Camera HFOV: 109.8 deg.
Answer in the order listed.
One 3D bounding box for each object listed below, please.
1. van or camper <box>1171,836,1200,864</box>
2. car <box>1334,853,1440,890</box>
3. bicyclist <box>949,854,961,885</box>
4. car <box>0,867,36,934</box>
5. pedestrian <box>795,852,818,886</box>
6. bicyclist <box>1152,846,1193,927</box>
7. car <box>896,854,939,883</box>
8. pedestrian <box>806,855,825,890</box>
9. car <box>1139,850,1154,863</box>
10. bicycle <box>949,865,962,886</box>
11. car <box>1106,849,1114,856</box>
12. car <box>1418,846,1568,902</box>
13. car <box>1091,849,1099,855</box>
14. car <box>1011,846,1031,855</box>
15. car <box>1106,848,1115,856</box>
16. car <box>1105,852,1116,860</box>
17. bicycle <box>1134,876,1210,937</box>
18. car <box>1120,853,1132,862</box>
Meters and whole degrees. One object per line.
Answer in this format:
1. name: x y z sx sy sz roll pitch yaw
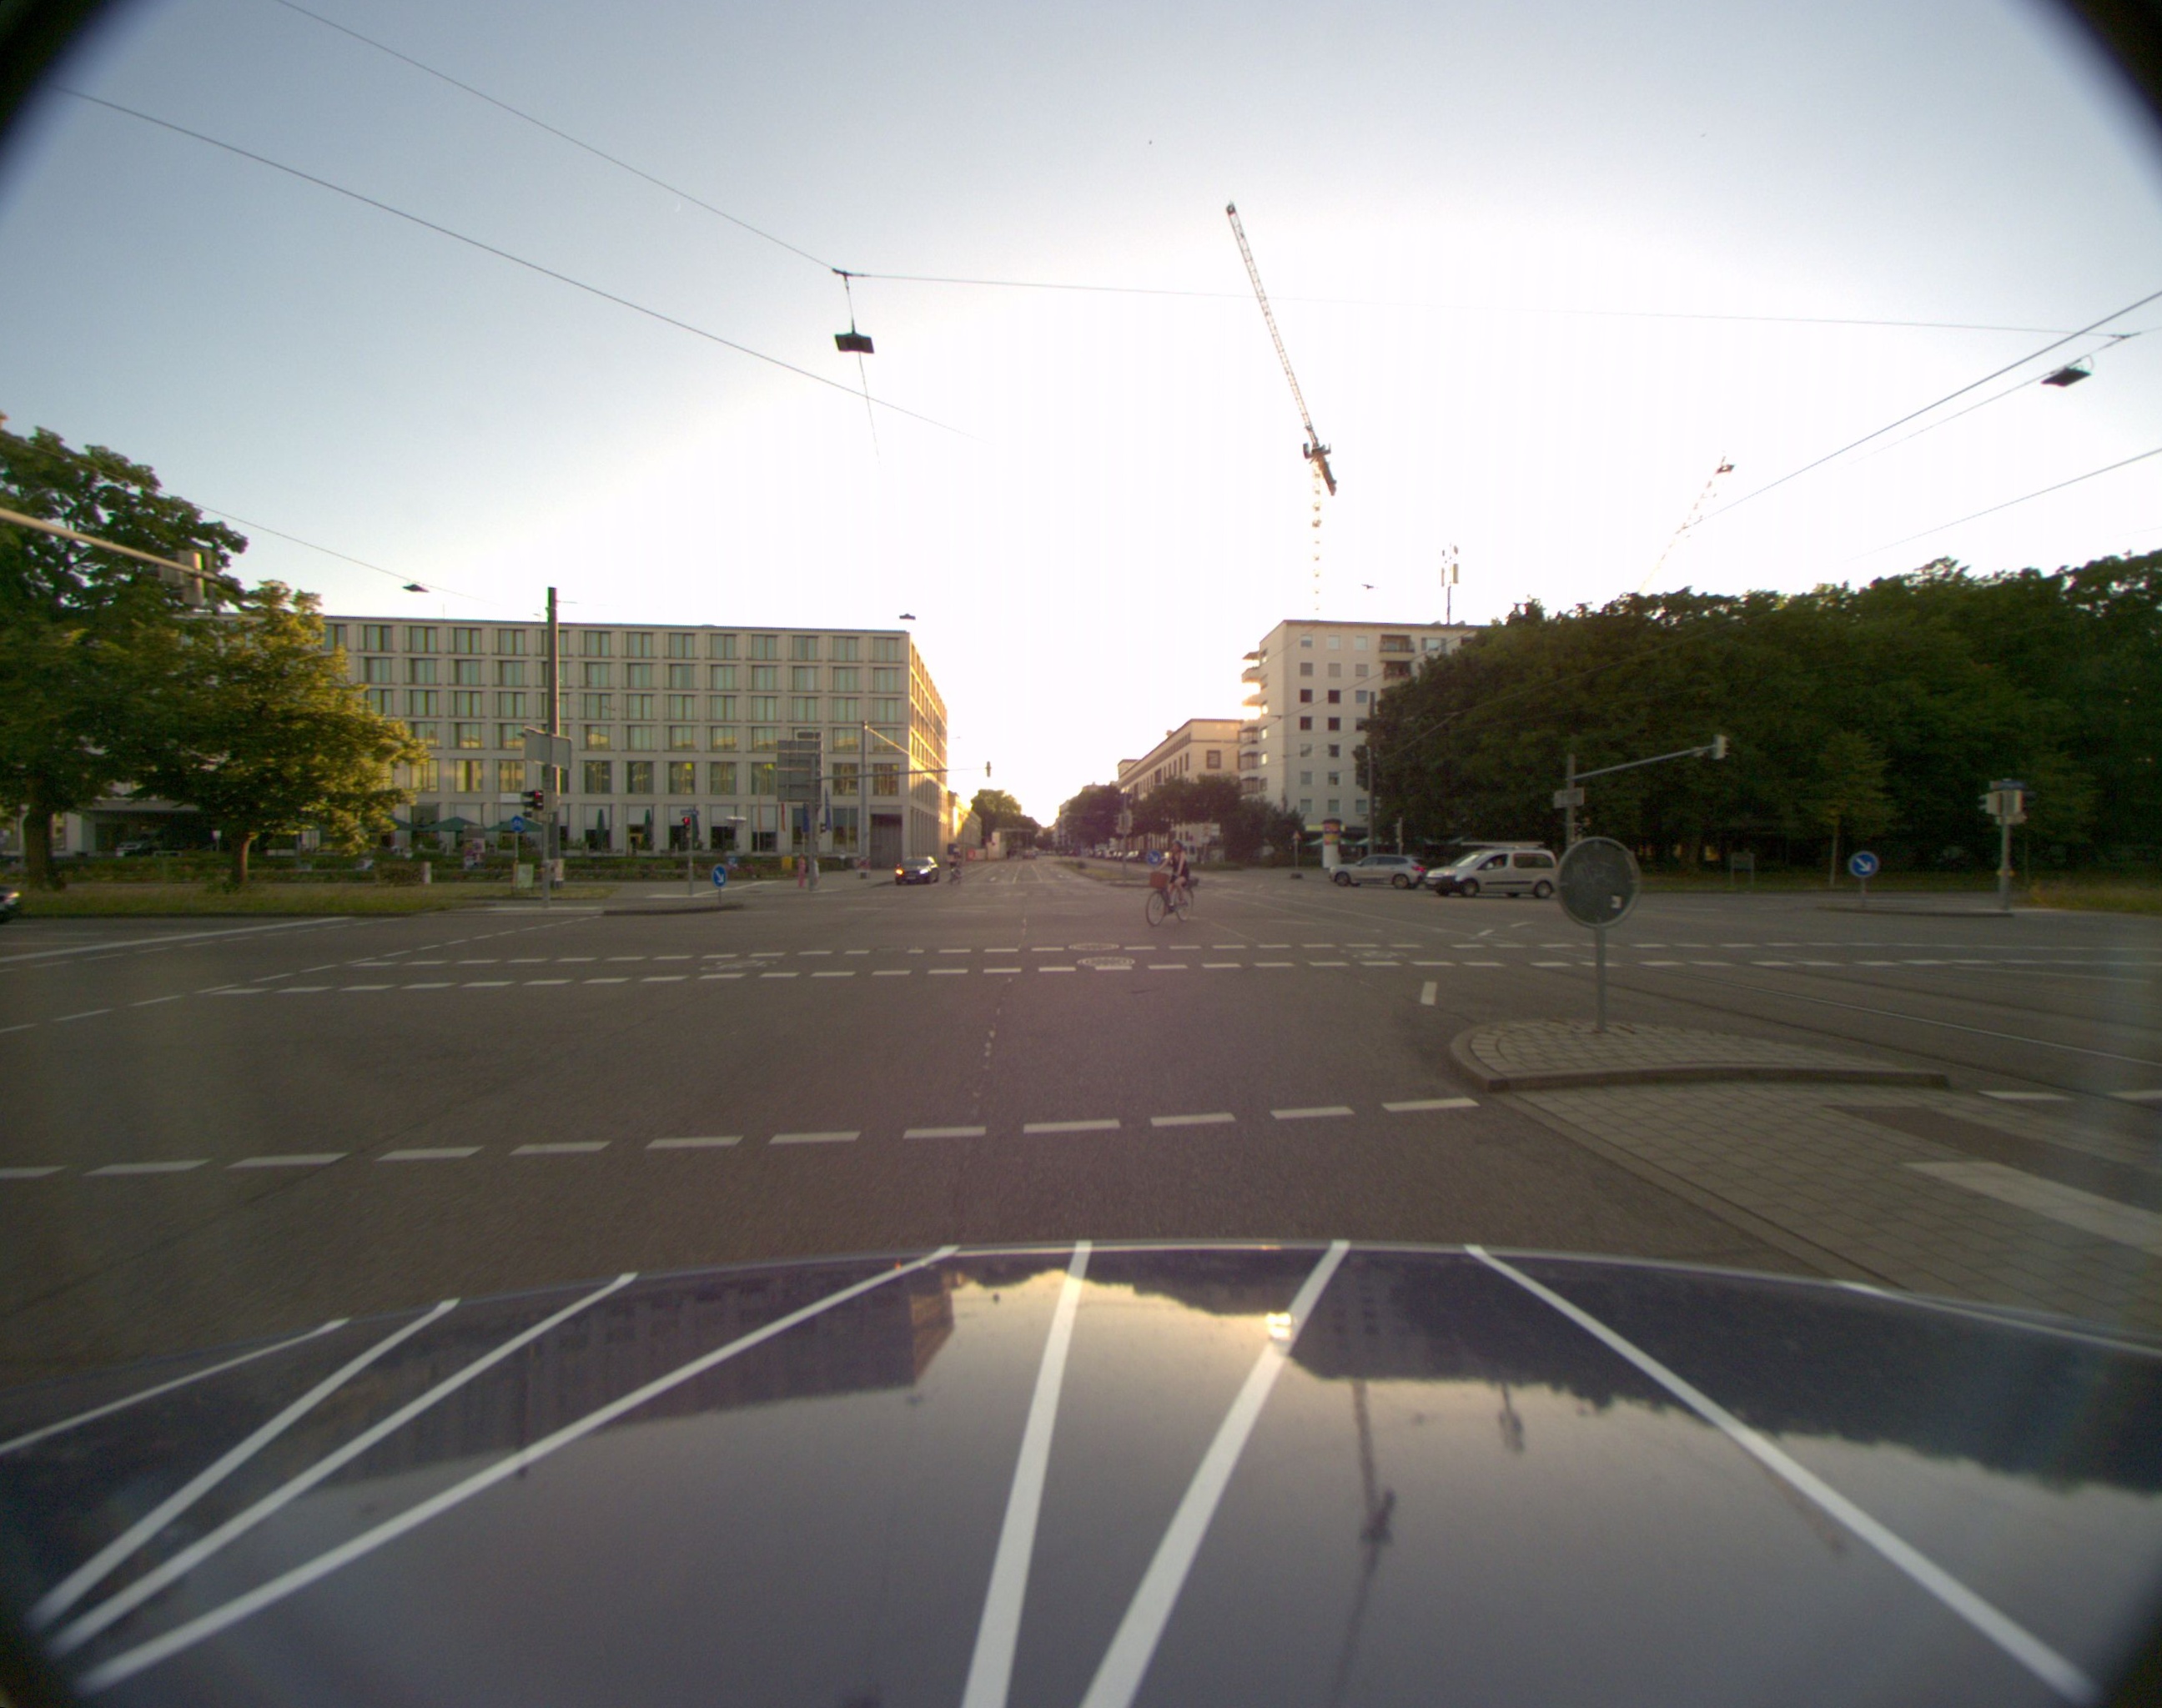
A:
1. van or camper: 10.491 -0.356 76.757 2.111 2.665 4.710 -1 -2 -2
2. car: 14.413 0.775 35.892 4.333 1.654 1.891 0 1 36
3. bicyclist: -6.643 0.794 40.061 0.541 1.626 0.597 0 1 -4
4. car: -25.057 0.996 15.763 4.171 1.412 1.698 0 1 -3
5. pedestrian: -13.237 0.709 36.671 0.736 1.617 0.727 0 1 28
6. bicyclist: 1.882 0.655 15.598 0.608 1.626 0.598 0 1 36
7. car: -9.152 0.775 42.801 1.817 1.514 4.807 -2 0 -6
8. pedestrian: -12.331 0.866 35.268 0.626 1.617 0.538 0 1 13
9. car: 8.695 0.265 101.522 1.722 1.695 3.809 0 0 0
10. bicycle: -6.639 1.126 40.216 0.540 1.045 1.760 0 0 -4
11. car: 6.215 -0.257 163.135 1.722 1.422 3.809 0 0 -1
12. car: 14.634 0.685 27.127 4.464 1.900 1.805 0 0 -6
13. car: 3.182 -0.428 176.865 1.722 1.422 3.809 0 0 -1
14. car: -11.604 -0.711 146.393 3.808 1.639 1.862 0 0 -5
15. car: 6.143 -0.442 157.234 1.722 1.478 3.809 0 1 0
16. car: 5.501 0.388 141.846 1.722 1.422 3.809 0 0 -1
17. bicycle: 1.906 1.037 15.637 0.608 1.108 2.090 0 0 36
18. car: 7.274 0.527 122.585 1.722 1.422 3.809 0 0 -1
